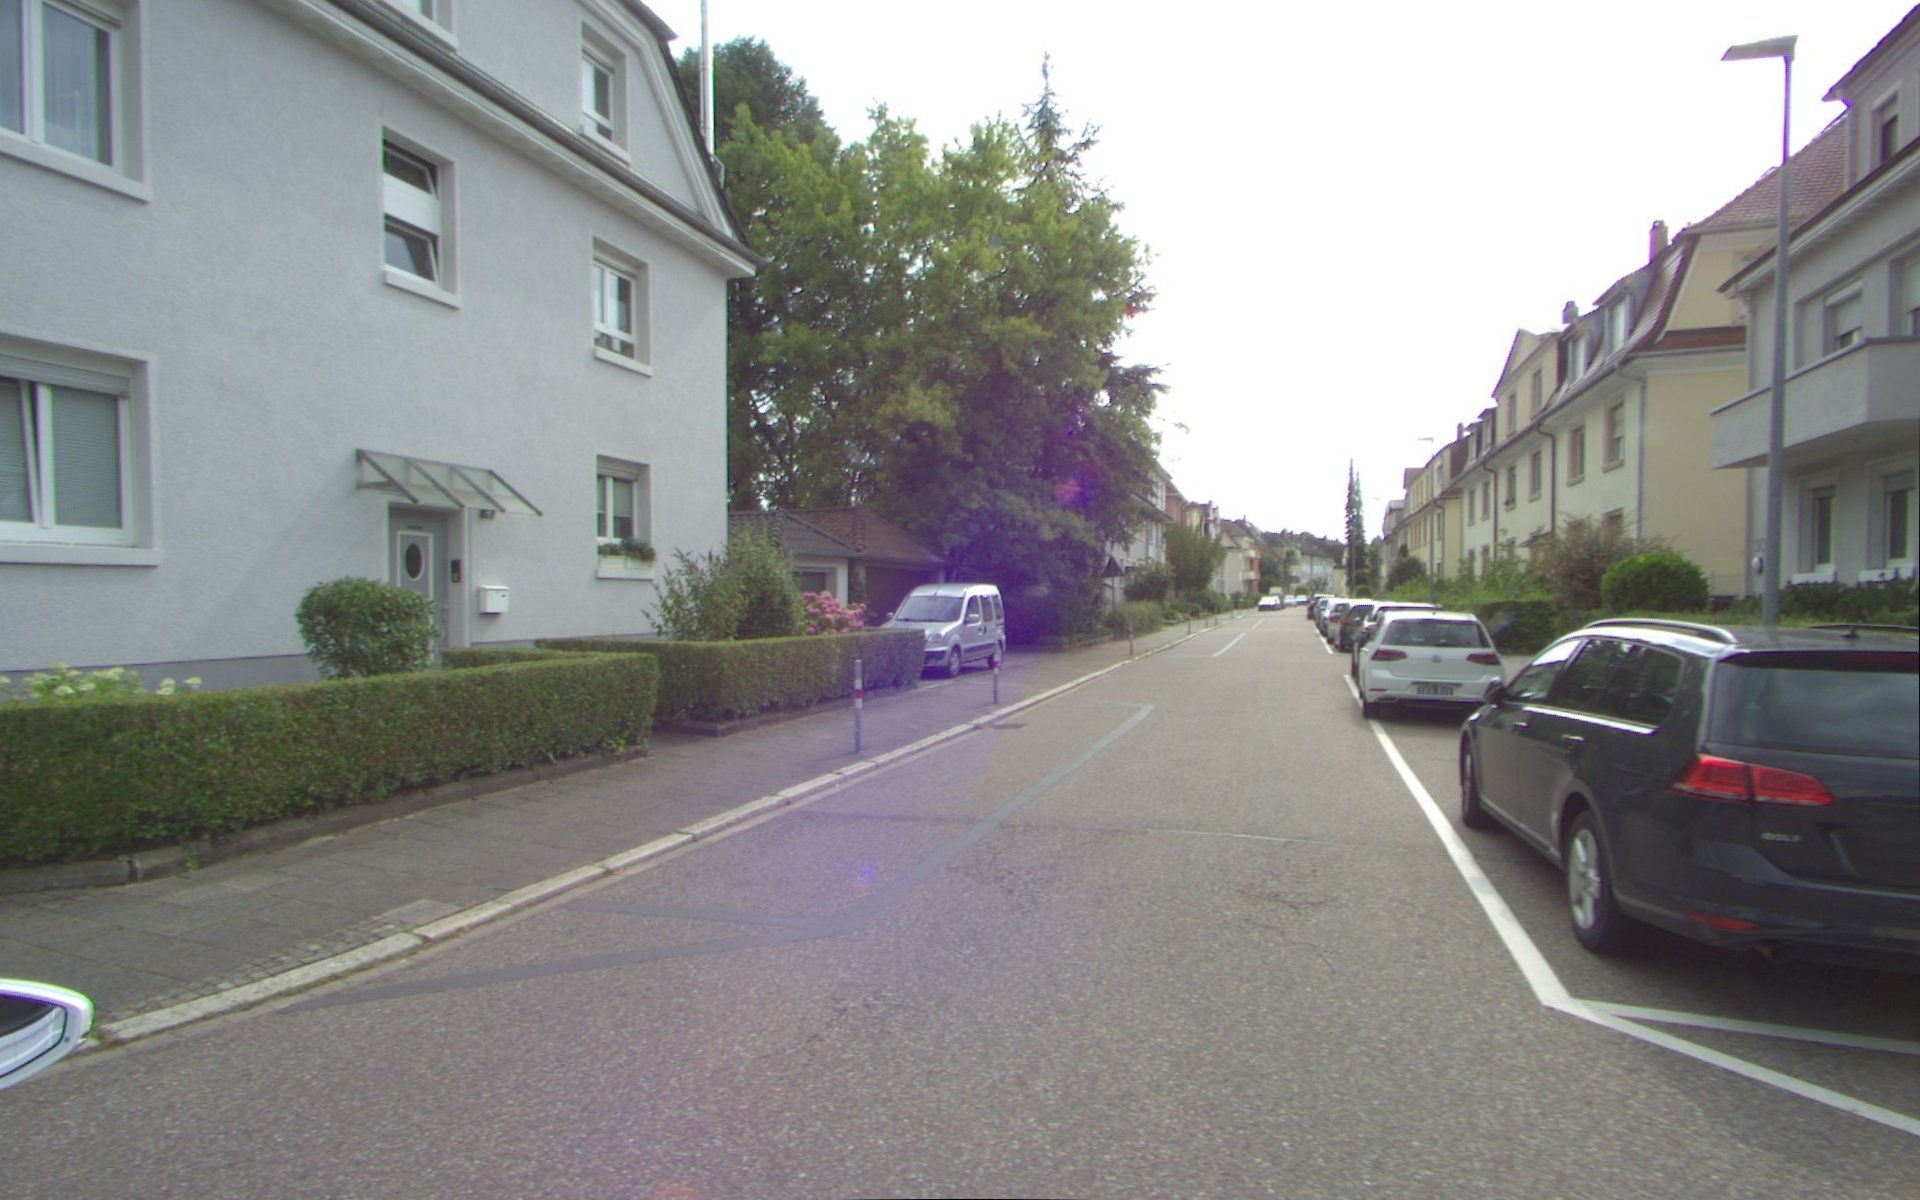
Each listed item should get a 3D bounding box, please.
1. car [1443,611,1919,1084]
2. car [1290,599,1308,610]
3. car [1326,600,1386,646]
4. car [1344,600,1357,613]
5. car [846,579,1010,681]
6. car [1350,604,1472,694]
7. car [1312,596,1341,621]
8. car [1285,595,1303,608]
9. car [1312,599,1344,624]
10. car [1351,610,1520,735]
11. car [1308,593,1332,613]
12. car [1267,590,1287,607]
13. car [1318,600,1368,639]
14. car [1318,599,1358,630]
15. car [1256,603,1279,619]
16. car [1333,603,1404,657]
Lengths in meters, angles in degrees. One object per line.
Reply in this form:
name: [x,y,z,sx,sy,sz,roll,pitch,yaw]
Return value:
car: [3.941,0.839,5.225,1.826,1.491,4.169,0,0,16]
car: [49.640,0.599,146.513,1.969,1.556,3.983,-1,0,27]
car: [13.932,0.768,35.416,1.827,1.491,4.166,0,0,20]
car: [66.341,1.094,170.059,1.966,2.040,3.990,-1,0,21]
car: [-0.523,0.535,20.336,1.965,1.862,3.991,0,0,20]
car: [8.540,0.847,19.276,1.827,1.491,4.166,0,0,20]
car: [24.929,0.554,68.160,1.827,1.599,4.166,0,0,20]
car: [44.549,0.232,133.545,1.966,1.662,3.989,0,0,22]
car: [23.103,0.701,62.958,1.827,1.491,4.166,0,0,20]
car: [6.761,0.915,14.645,1.827,1.491,4.166,0,0,20]
car: [30.951,0.246,86.124,1.827,1.599,4.167,0,0,19]
car: [37.573,-0.171,118.616,1.965,2.040,3.990,0,0,21]
car: [15.698,0.753,41.127,1.827,1.491,4.166,0,0,20]
car: [19.315,0.710,51.226,1.827,1.491,4.166,0,0,20]
car: [32.883,1.148,106.915,1.966,1.662,3.989,0,0,22]
car: [12.270,0.847,30.277,1.827,1.491,4.166,0,0,20]
